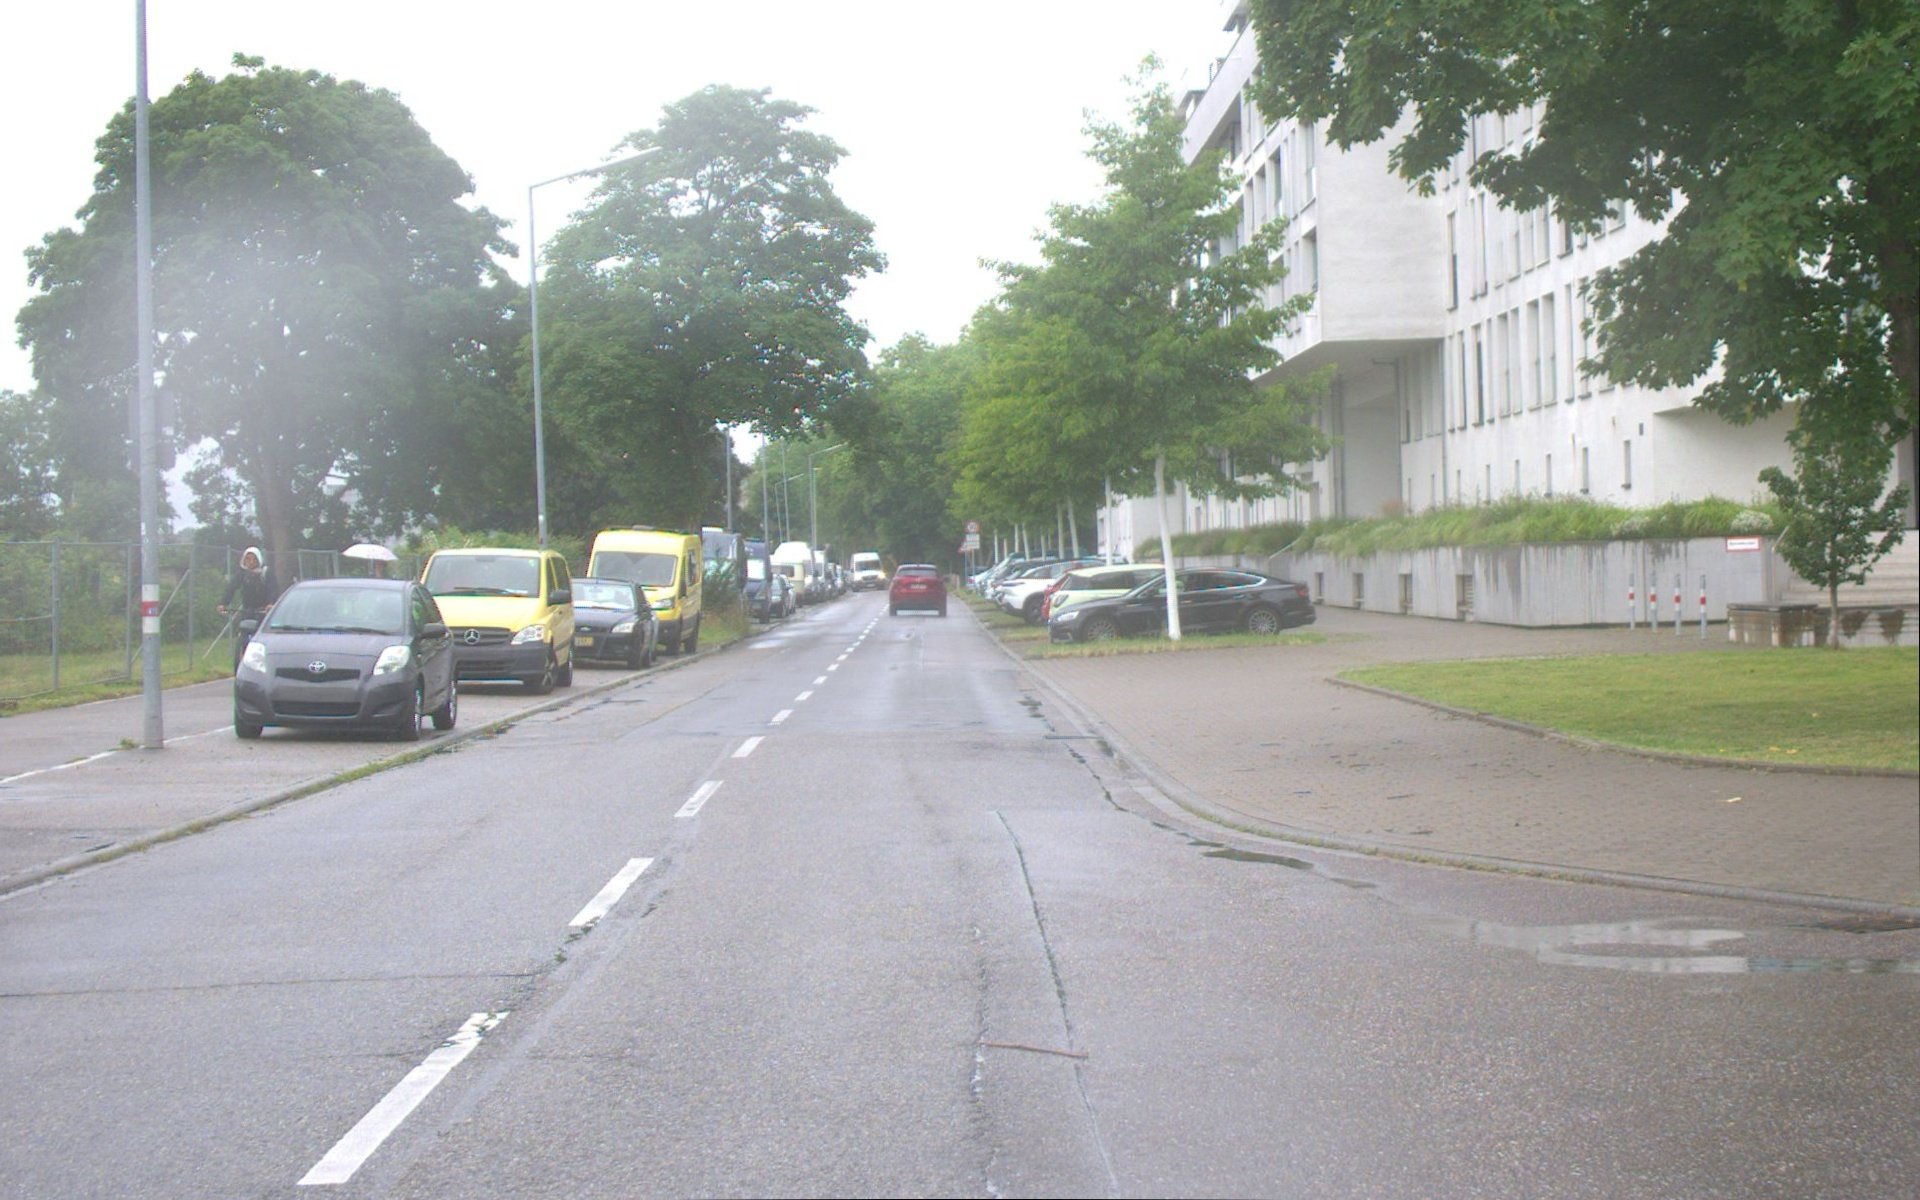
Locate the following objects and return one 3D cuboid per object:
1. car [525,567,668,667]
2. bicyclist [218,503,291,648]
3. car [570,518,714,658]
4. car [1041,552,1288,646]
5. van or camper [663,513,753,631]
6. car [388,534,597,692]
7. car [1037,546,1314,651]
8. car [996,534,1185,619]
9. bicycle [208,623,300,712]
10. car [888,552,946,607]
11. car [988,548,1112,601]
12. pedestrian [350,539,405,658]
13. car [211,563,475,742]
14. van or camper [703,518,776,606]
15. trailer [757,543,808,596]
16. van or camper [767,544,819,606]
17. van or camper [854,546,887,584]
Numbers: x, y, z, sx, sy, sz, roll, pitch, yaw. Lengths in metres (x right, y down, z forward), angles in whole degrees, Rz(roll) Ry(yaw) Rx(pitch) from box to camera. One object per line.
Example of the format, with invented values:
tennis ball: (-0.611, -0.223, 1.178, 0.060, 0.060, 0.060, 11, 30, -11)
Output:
car: (-6.103, 0.262, 58.236, 1.993, 1.588, 5.018, 1, 0, -2)
bicyclist: (-8.945, -0.316, 43.627, 0.698, 1.823, 1.008, -1, 1, 0)
car: (-6.409, -0.256, 69.993, 2.192, 2.685, 6.081, 1, 1, 1)
car: (3.854, -0.027, 65.328, 4.487, 1.476, 1.692, -4, 0, 0)
van or camper: (-6.879, -0.751, 94.413, 2.094, 3.084, 6.424, 1, 0, -2)
car: (-6.156, 0.142, 45.936, 2.017, 1.950, 6.065, 1, 0, -1)
car: (3.710, -0.033, 59.749, 4.570, 1.492, 1.826, -4, 1, -1)
car: (3.321, -0.599, 88.270, 4.539, 1.679, 1.886, -6, 1, -3)
bicycle: (-8.933, 0.843, 43.562, 0.716, 1.038, 2.144, -1, 1, 0)
car: (-1.369, -0.667, 110.840, 1.756, 1.700, 4.000, -1, 1, 0)
car: (2.979, -0.850, 114.671, 3.987, 1.504, 1.684, -3, 2, -1)
pedestrian: (-9.903, -0.033, 58.474, 0.742, 2.007, 0.980, 0, 1, 0)
car: (-5.872, 0.454, 33.174, 1.804, 1.556, 4.033, 1, 1, 0)
van or camper: (-7.060, -1.186, 110.663, 2.094, 2.706, 7.575, 1, 0, -2)
trailer: (-7.451, -1.292, 144.568, 2.058, 2.210, 5.795, 0, 1, -2)
van or camper: (-7.603, -1.163, 157.222, 1.993, 2.752, 7.898, 0, 0, 0)
van or camper: (-6.077, -2.408, 234.376, 1.993, 2.489, 7.178, -2, 1, 0)
